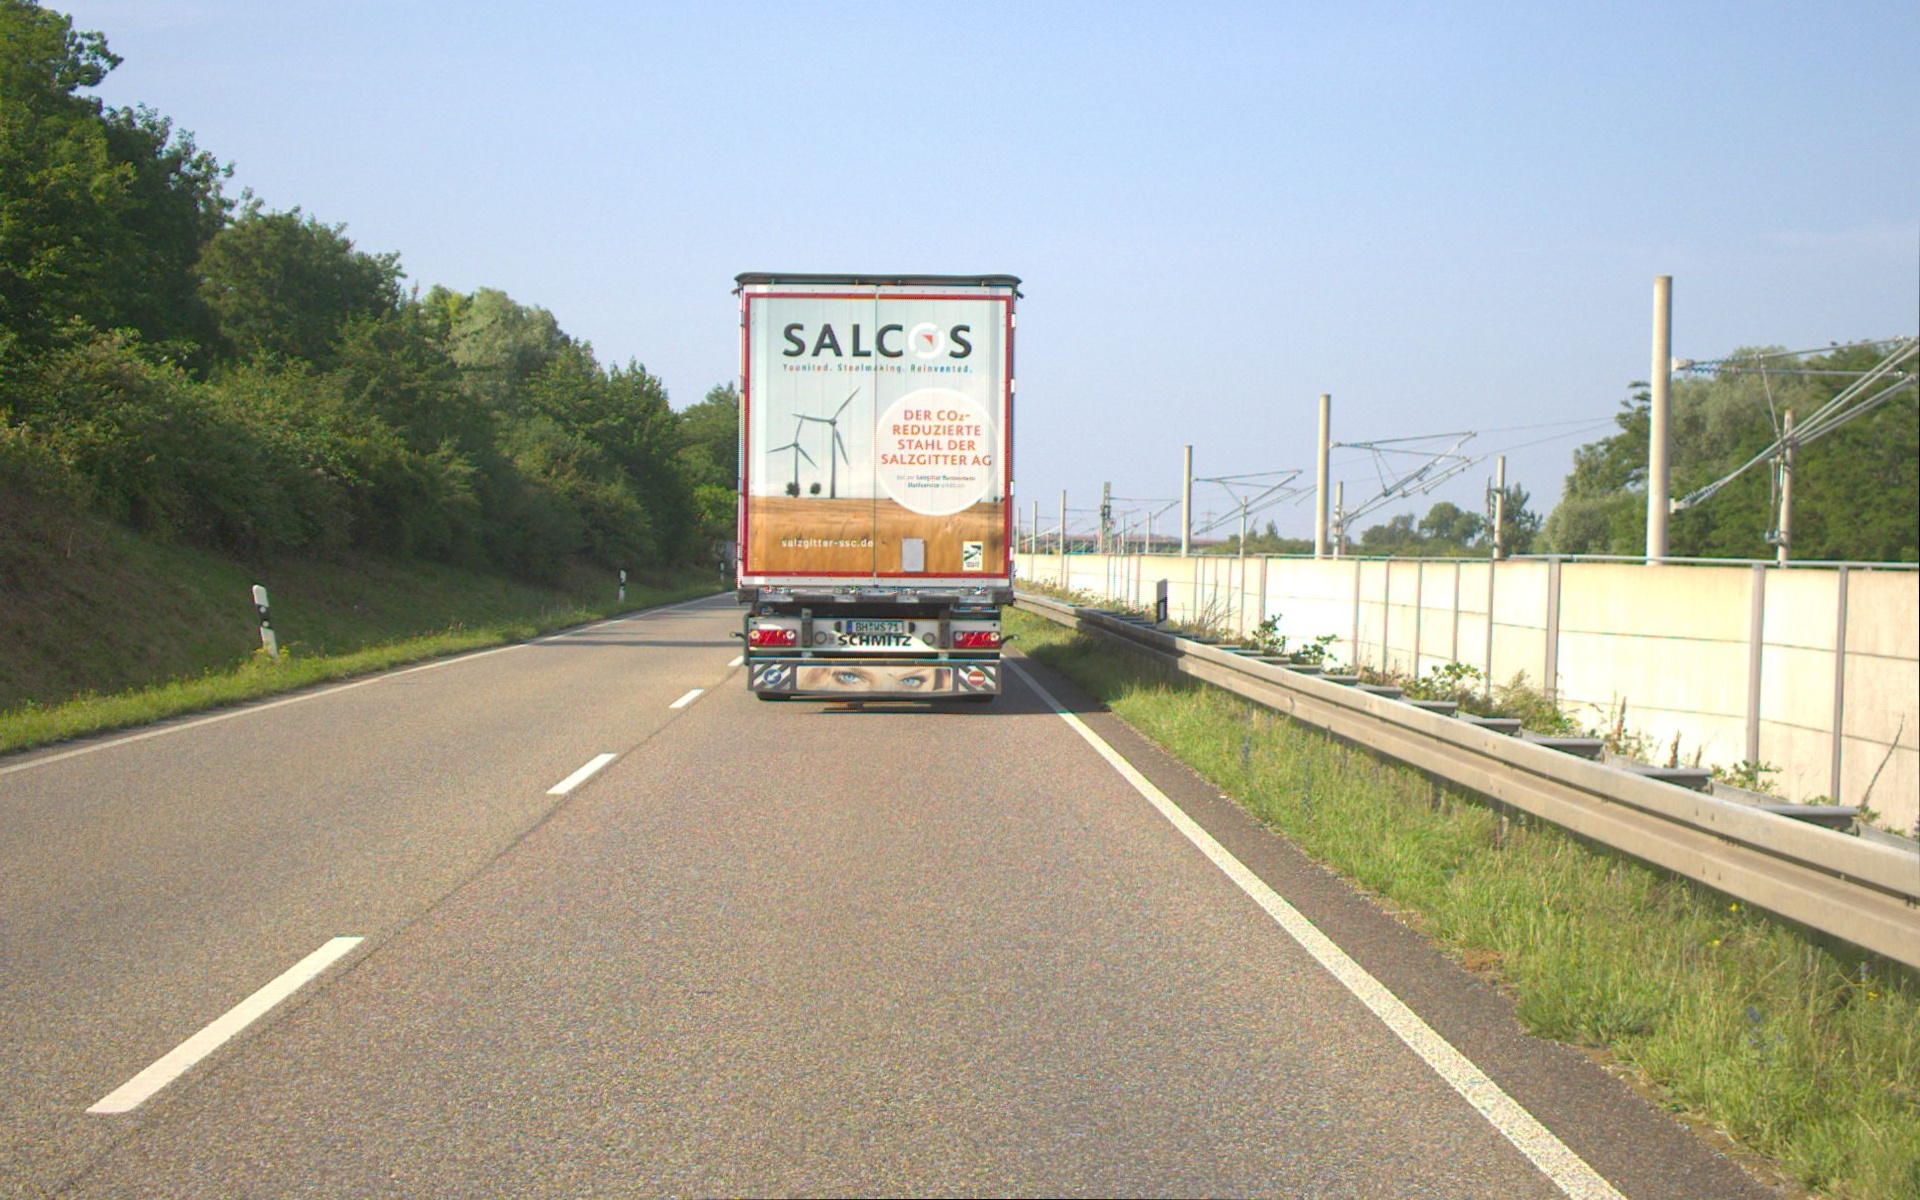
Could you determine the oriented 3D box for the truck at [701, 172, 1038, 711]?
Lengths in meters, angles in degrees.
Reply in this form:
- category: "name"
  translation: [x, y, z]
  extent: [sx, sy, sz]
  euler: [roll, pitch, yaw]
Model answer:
- category: "truck"
  translation: [-1.058, -1.537, 37.388]
  extent: [3.033, 4.903, 11.685]
  euler: [1, 1, -2]
